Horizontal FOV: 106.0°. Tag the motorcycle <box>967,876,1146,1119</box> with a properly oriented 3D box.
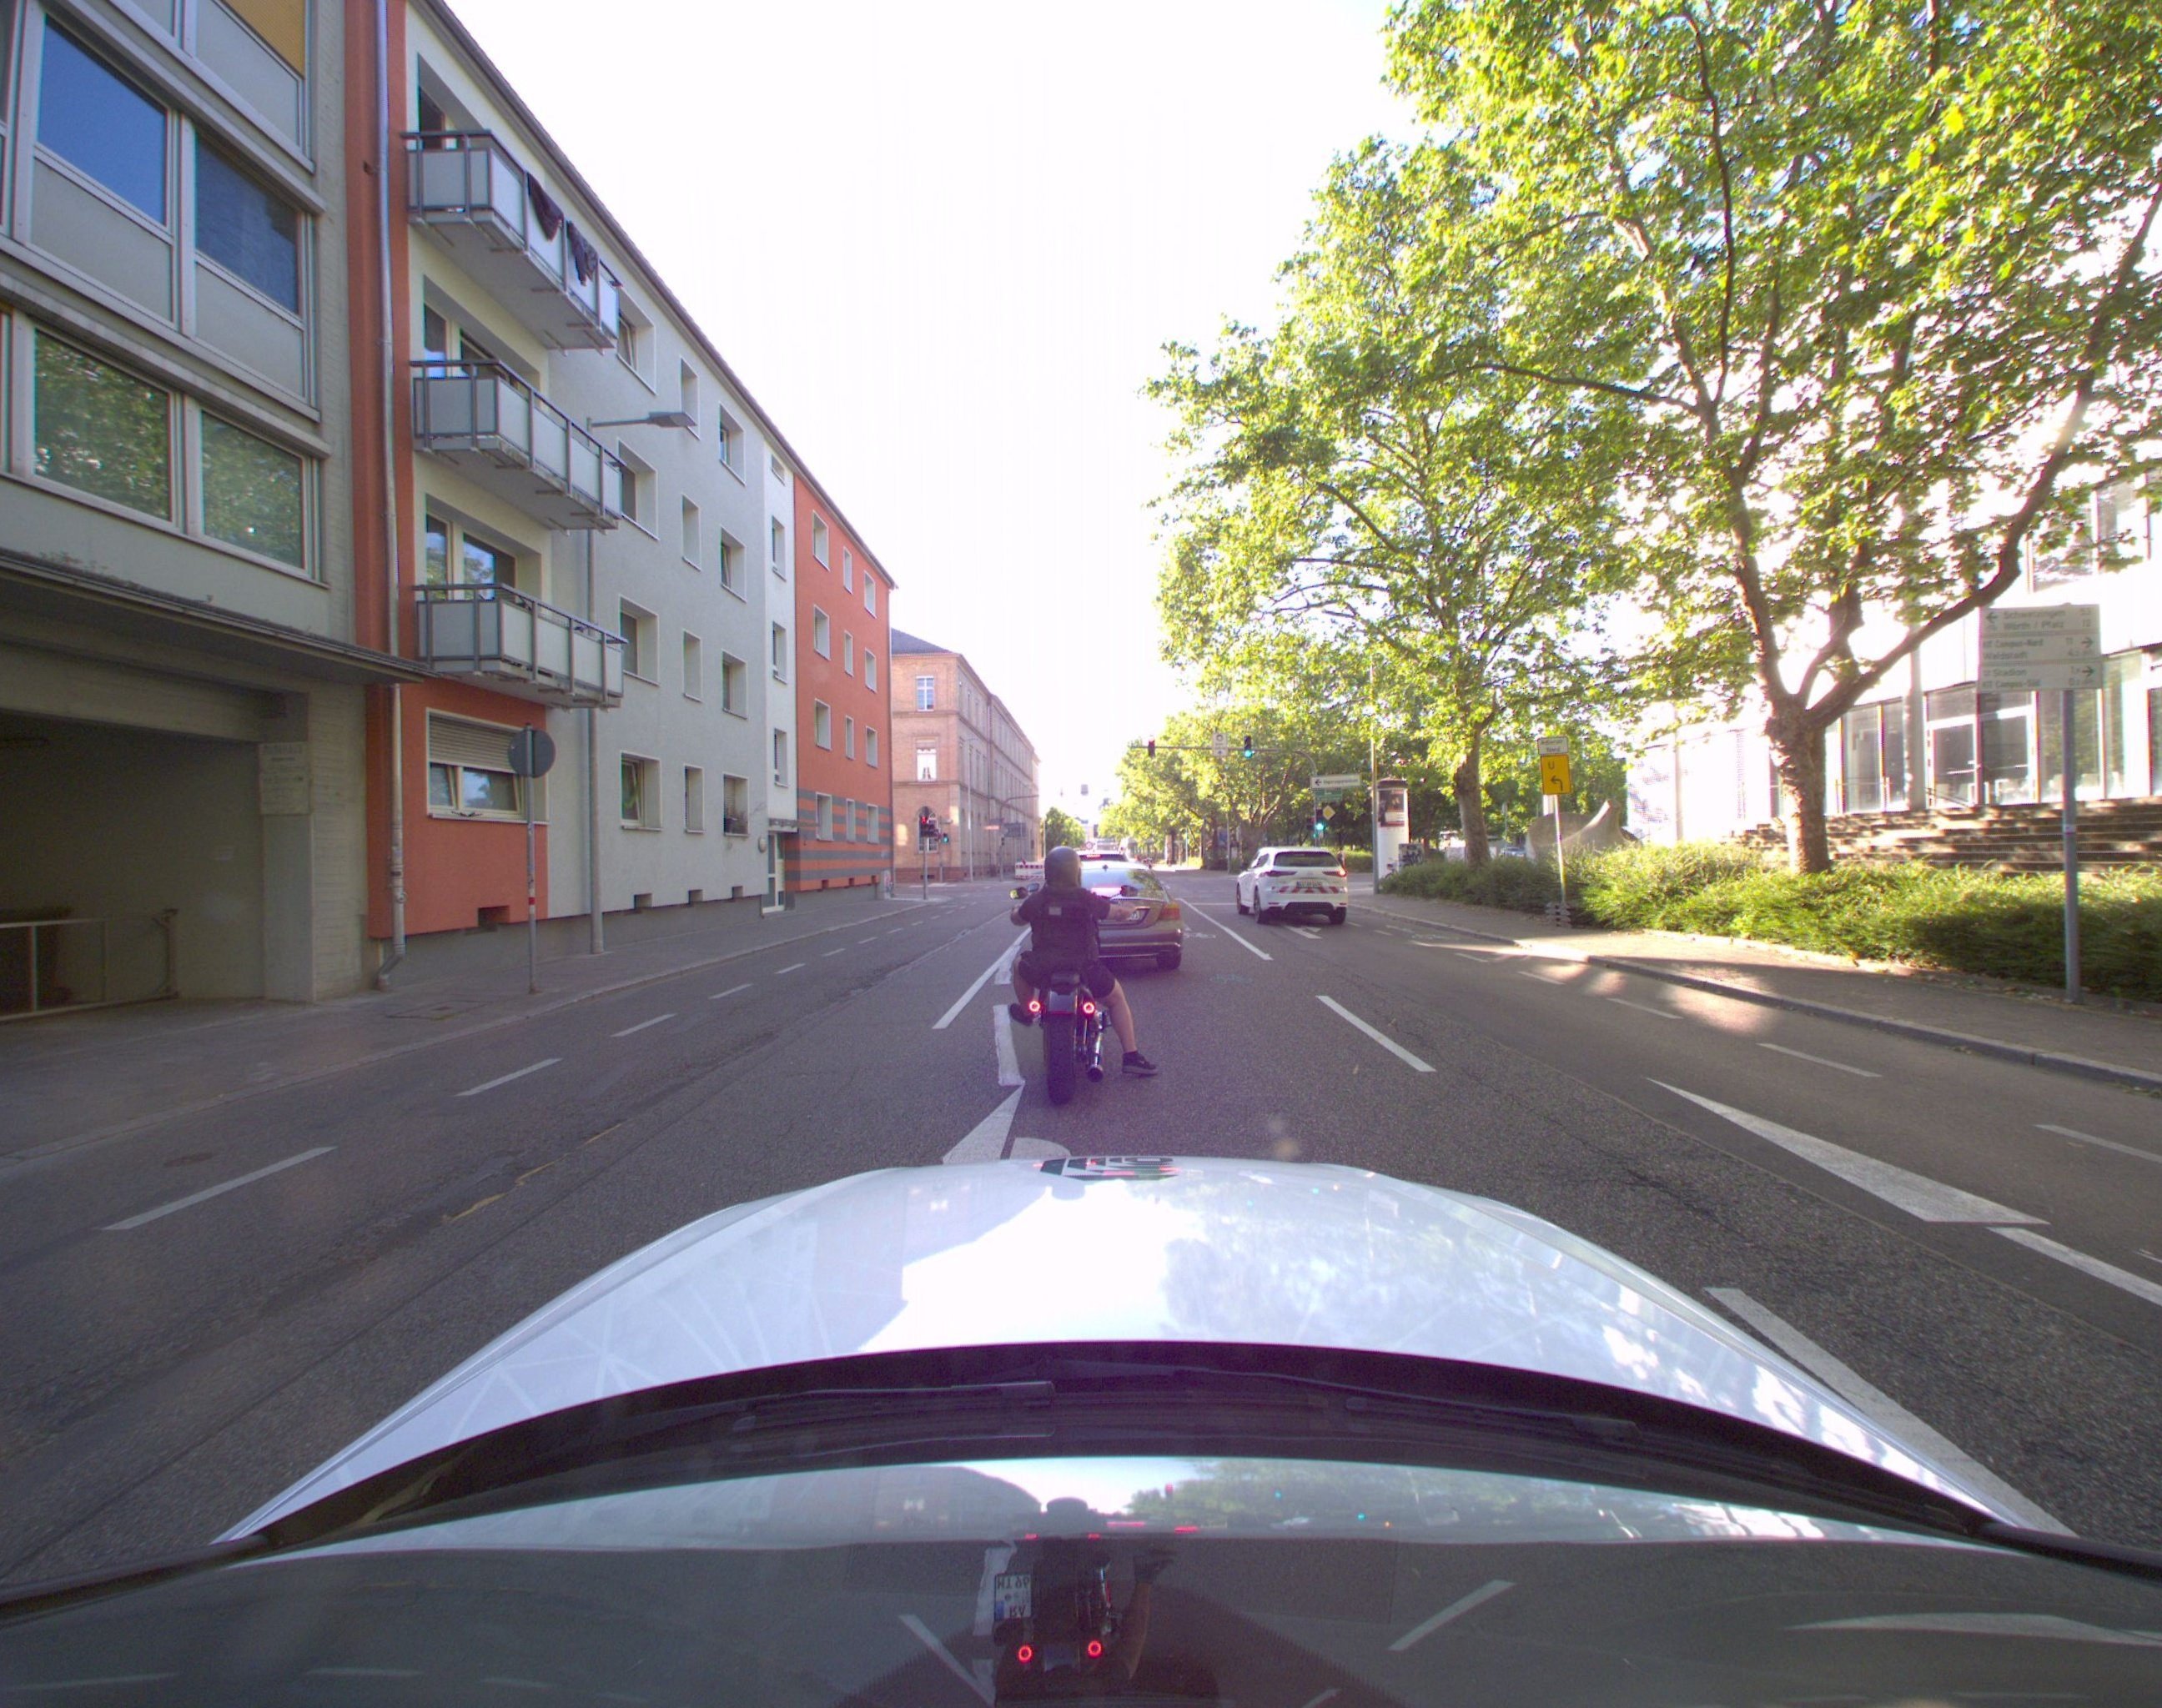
[{"bbox_3d":[-0.099,0.839,5.775,0.977,1.275,2.408,-1,0,2],"label":"motorcycle"}]

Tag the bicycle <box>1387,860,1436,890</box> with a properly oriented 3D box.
[{"bbox_3d":[11.076,0.709,27.326,1.475,0.980,0.300,0,-1,7],"label":"bicycle"}]

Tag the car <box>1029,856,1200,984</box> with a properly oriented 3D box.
[{"bbox_3d":[0.261,0.770,11.748,1.867,1.444,4.421,-1,0,-6],"label":"car"}]

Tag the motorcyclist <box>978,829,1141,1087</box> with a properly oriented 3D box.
[{"bbox_3d":[-0.115,0.646,5.666,0.977,1.578,1.249,-1,0,1],"label":"motorcyclist"}]

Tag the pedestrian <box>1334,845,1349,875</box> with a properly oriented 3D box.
[{"bbox_3d":[15.566,0.349,48.692,0.671,1.772,0.621,-1,-1,31],"label":"pedestrian"}]

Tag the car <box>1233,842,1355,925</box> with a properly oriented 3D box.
[{"bbox_3d":[4.791,0.593,18.975,1.935,1.708,4.487,0,0,3],"label":"car"}]

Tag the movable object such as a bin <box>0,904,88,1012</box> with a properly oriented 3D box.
[{"bbox_3d":[-11.291,1.088,8.649,0.639,1.065,0.675,-1,0,1],"label":"movable object such as a bin"}]

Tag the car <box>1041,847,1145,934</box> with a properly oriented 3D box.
[{"bbox_3d":[0.287,0.722,17.675,1.986,1.665,4.001,0,-1,2],"label":"car"}]
